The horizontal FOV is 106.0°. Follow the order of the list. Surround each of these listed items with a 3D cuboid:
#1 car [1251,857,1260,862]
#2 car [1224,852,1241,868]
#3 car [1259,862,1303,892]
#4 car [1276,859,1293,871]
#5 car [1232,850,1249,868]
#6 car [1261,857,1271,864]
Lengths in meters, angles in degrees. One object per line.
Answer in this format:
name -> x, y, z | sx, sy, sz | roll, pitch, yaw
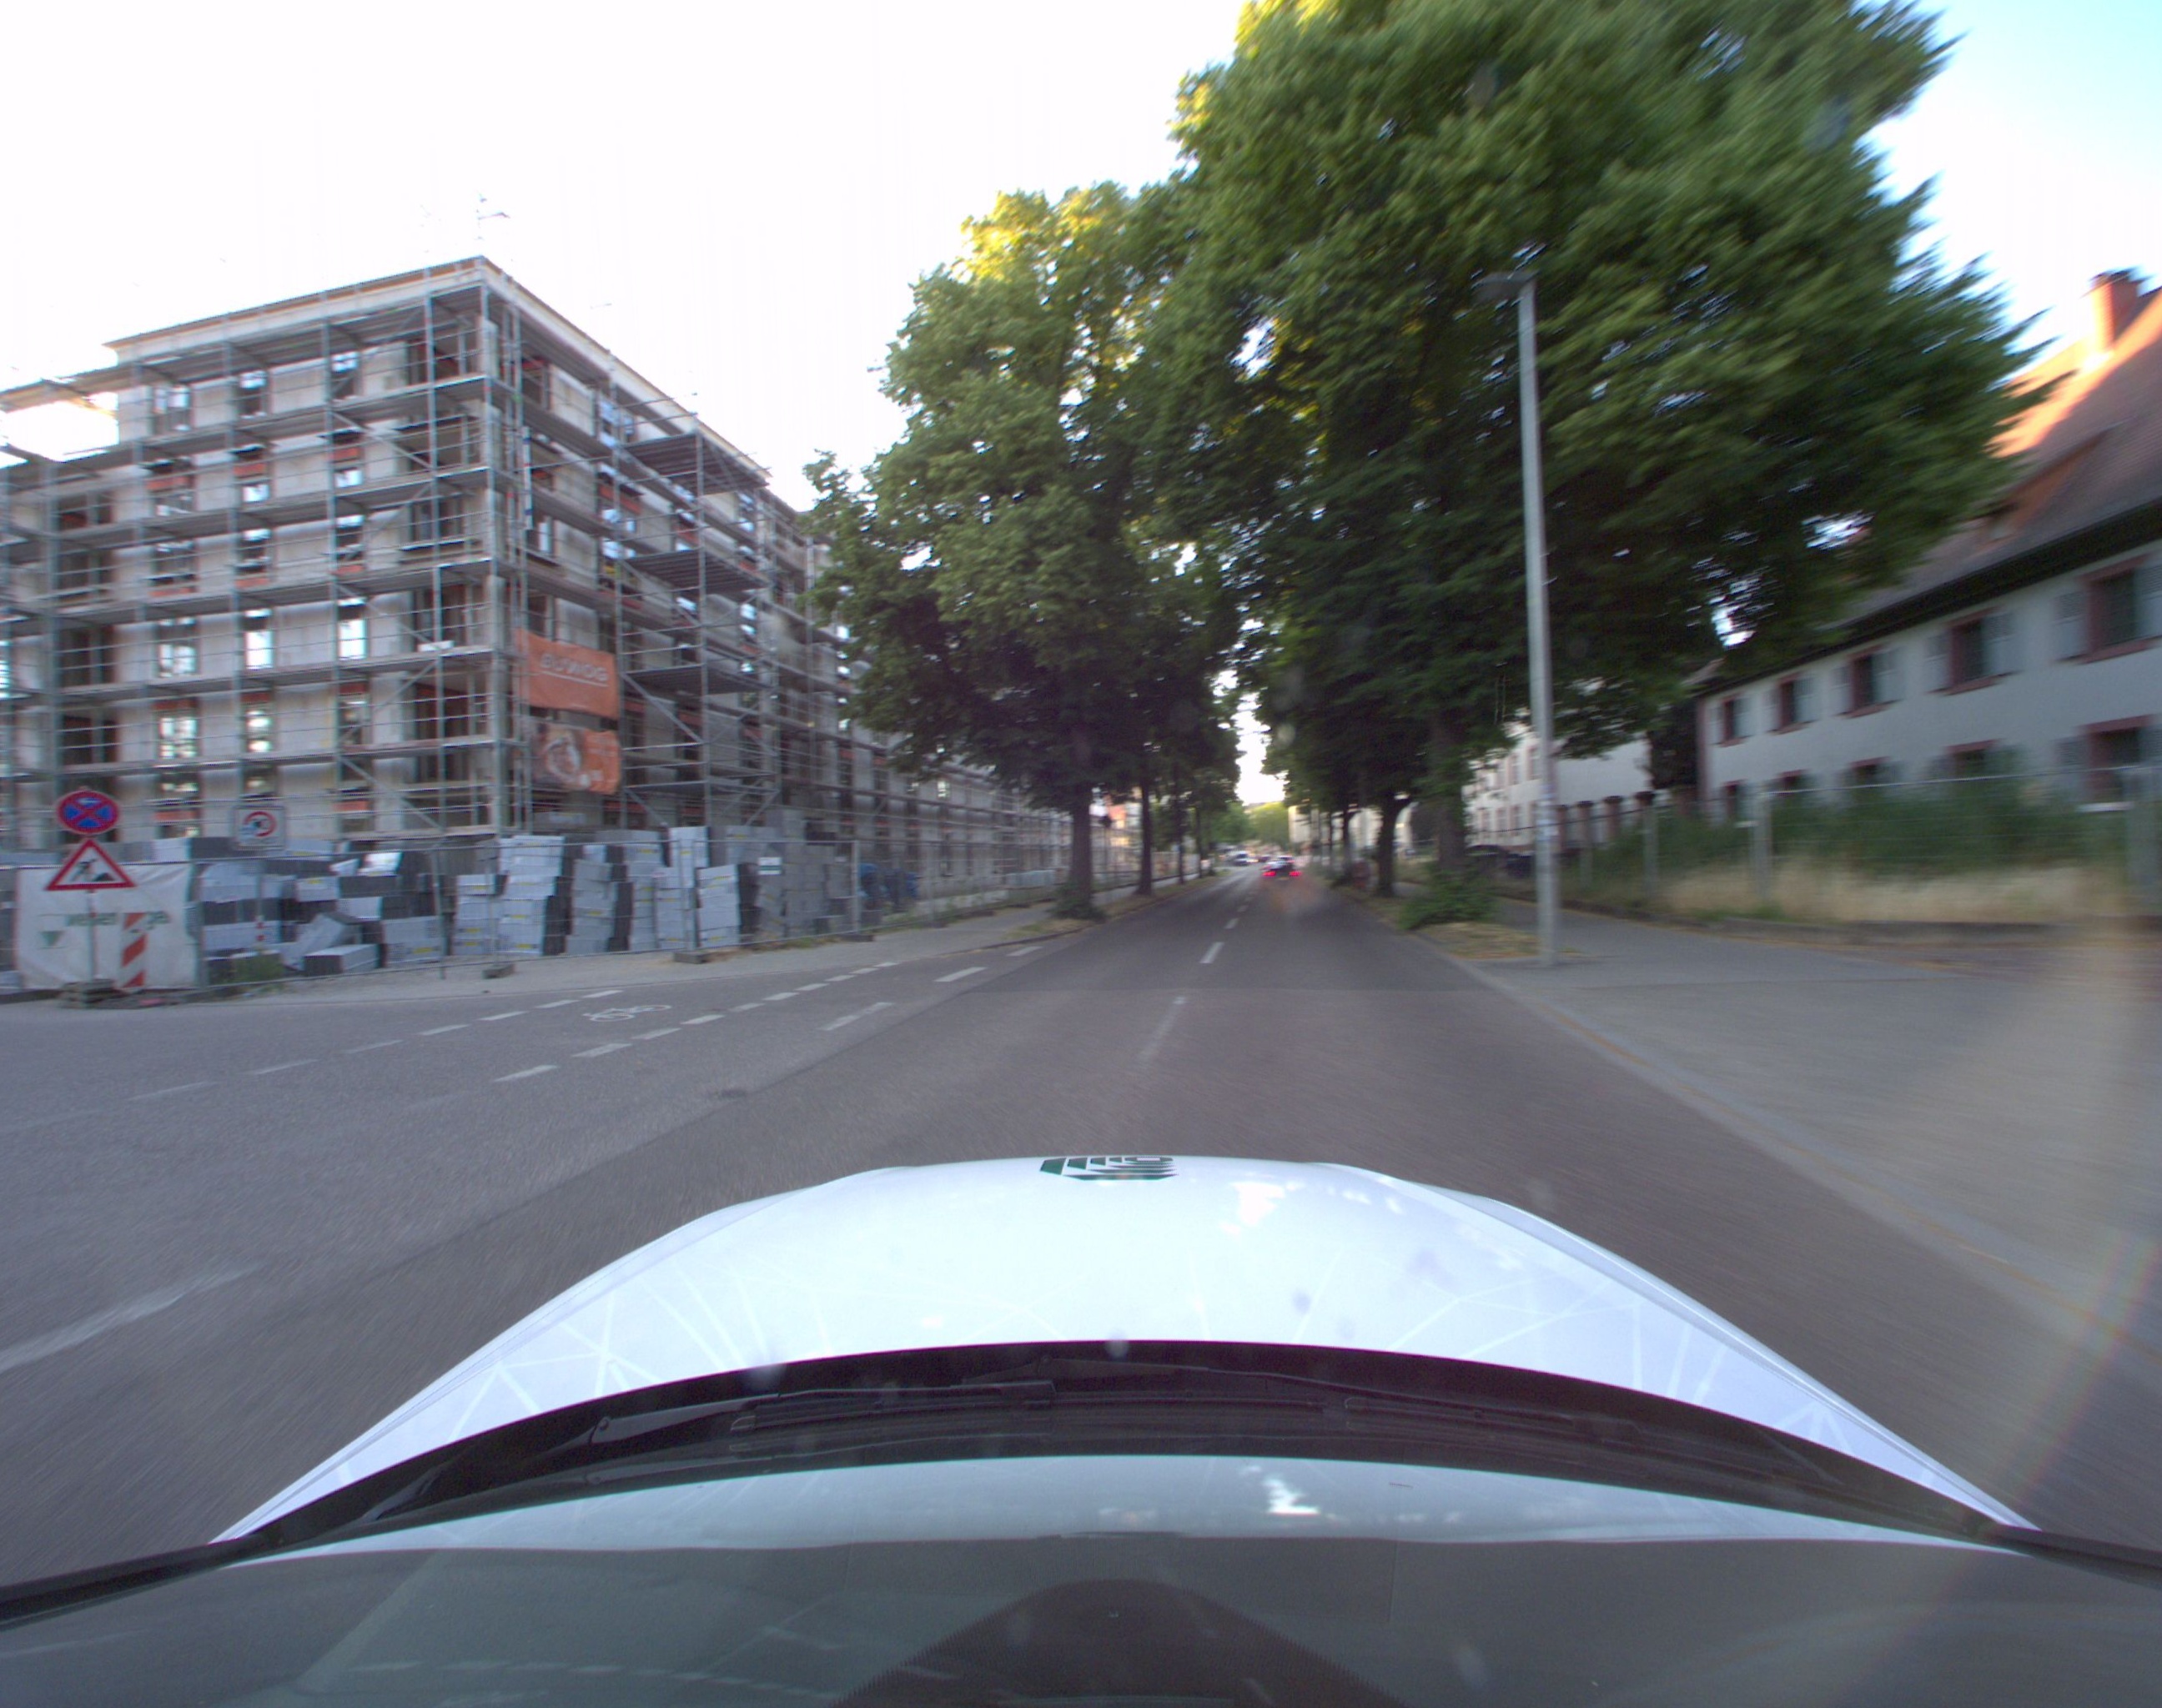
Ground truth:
car -> 42.946, 1.374, 200.526 | 1.933, 1.326, 4.014 | 0, 0, 13
car -> 22.672, 0.846, 122.060 | 2.322, 2.198, 5.323 | -2, 0, 9
car -> 9.622, 1.076, 39.299 | 1.933, 1.326, 4.014 | 0, 0, 13
car -> 23.848, 1.254, 95.377 | 1.933, 1.326, 4.016 | 0, 0, 15
car -> 26.071, 0.830, 133.171 | 2.475, 2.697, 5.850 | -2, -1, 12
car -> 38.154, 1.330, 167.752 | 1.933, 1.326, 4.014 | 0, 0, 13
